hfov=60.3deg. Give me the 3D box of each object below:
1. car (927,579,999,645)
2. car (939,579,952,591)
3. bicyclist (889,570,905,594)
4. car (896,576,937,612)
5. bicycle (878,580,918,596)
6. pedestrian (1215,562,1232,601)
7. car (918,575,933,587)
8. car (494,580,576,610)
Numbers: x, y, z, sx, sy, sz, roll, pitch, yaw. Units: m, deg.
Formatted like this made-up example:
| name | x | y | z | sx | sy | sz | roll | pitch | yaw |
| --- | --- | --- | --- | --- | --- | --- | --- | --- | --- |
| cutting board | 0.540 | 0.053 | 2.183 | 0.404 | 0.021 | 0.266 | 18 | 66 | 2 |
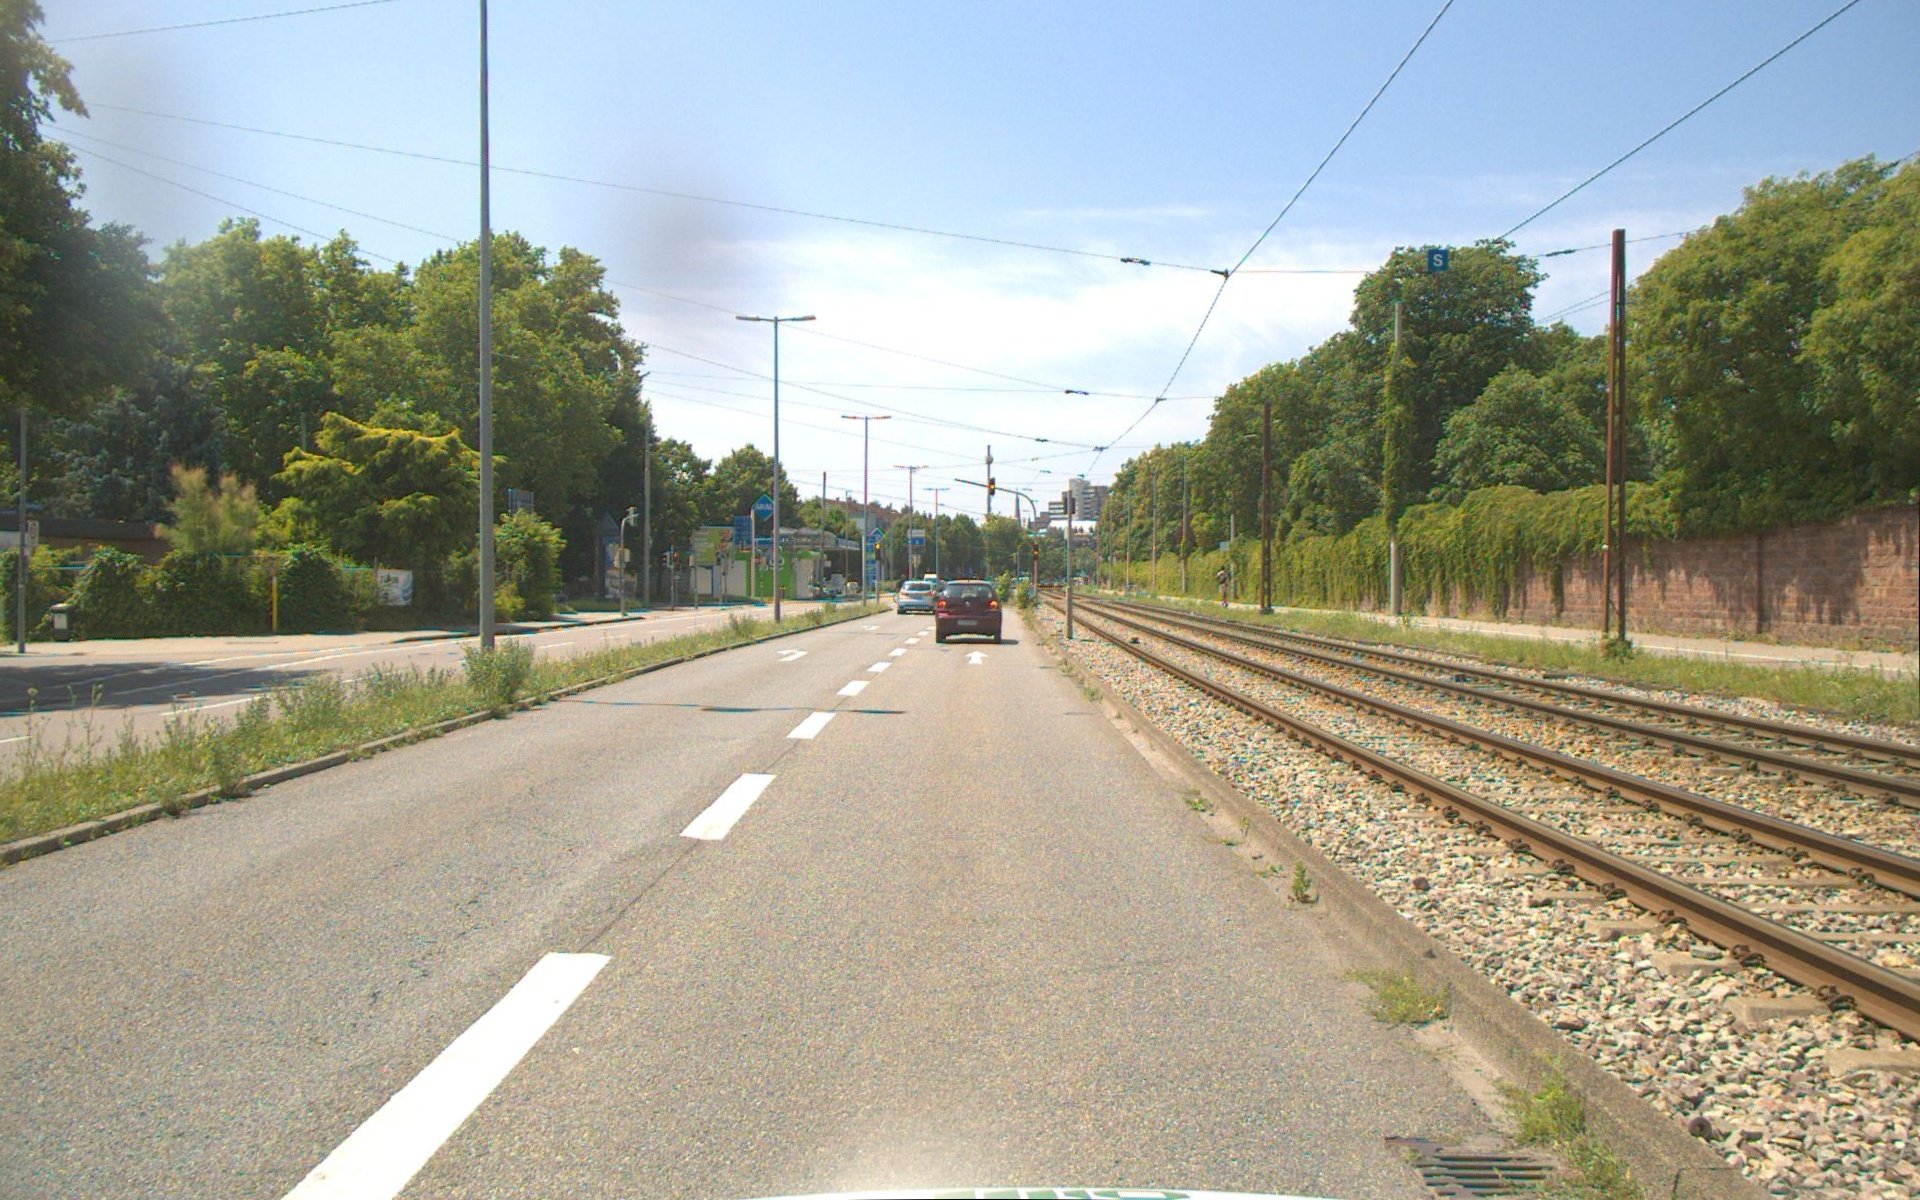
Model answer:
| name | x | y | z | sx | sy | sz | roll | pitch | yaw |
| --- | --- | --- | --- | --- | --- | --- | --- | --- | --- |
| car | 0.067 | 0.257 | 40.618 | 1.668 | 1.503 | 3.716 | 1 | 1 | 0 |
| car | -2.282 | -2.373 | 260.601 | 1.712 | 1.716 | 4.002 | -1 | 1 | 3 |
| bicyclist | -4.210 | -1.208 | 111.088 | 0.927 | 1.621 | 1.085 | 1 | 0 | -10 |
| car | -1.952 | -0.271 | 73.497 | 1.669 | 1.506 | 3.714 | 1 | 0 | -4 |
| bicycle | -4.164 | -0.788 | 111.069 | 2.503 | 1.056 | 1.085 | 1 | 0 | -10 |
| pedestrian | 12.052 | -0.846 | 75.730 | 0.648 | 1.756 | 0.816 | -1 | 1 | 0 |
| car | -4.851 | -2.702 | 232.130 | 1.954 | 1.624 | 3.997 | 1 | 0 | -4 |
| car | -23.041 | -0.276 | 89.769 | 3.902 | 1.607 | 1.773 | -1 | 1 | 12 |
